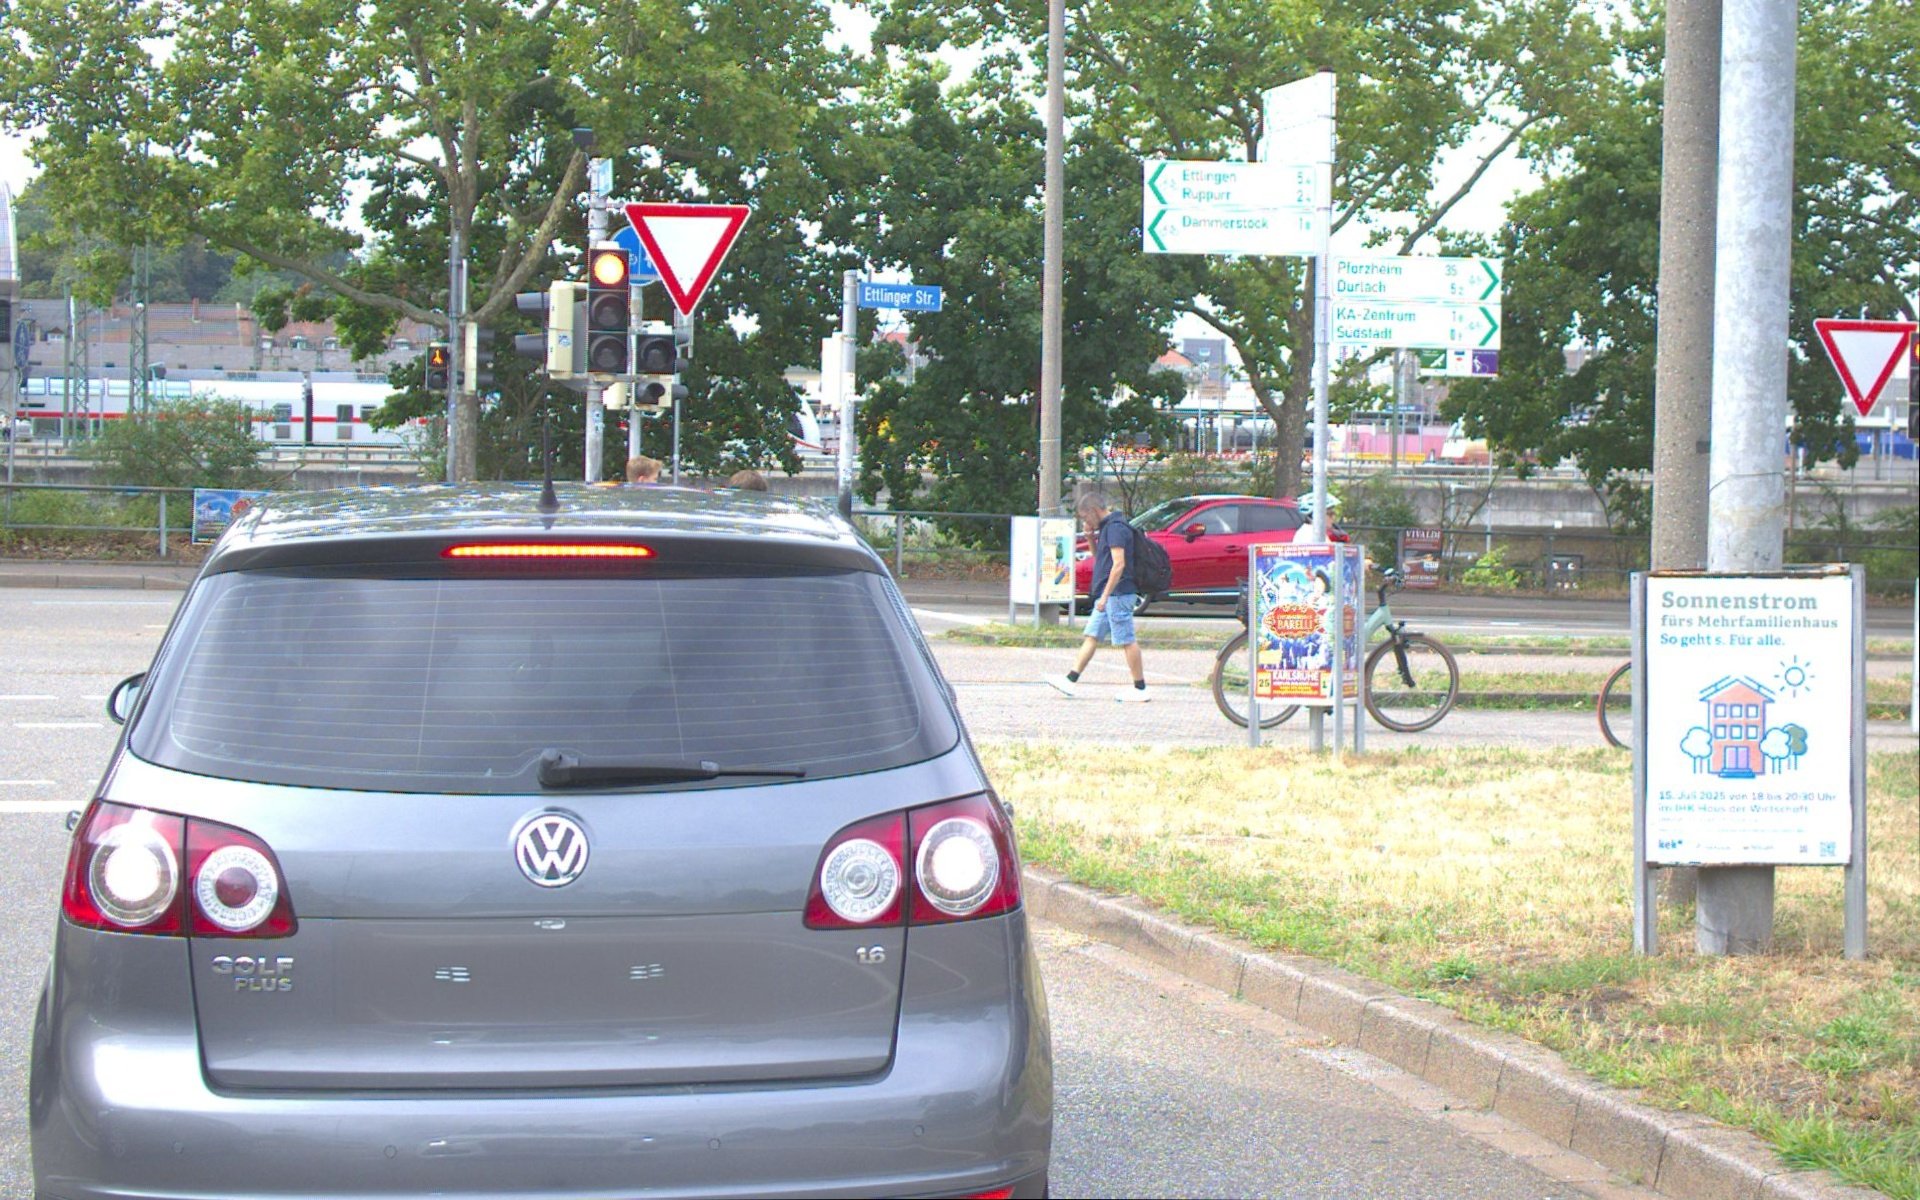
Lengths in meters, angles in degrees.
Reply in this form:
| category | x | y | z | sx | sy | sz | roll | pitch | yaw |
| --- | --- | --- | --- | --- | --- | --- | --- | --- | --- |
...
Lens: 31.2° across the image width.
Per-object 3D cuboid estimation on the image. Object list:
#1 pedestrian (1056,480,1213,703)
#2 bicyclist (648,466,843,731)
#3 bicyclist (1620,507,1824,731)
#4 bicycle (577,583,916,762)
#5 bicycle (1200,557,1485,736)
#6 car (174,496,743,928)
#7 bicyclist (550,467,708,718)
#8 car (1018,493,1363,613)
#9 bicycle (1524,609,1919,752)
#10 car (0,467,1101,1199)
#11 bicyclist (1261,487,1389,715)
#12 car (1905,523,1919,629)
| category | x | y | z | sx | sy | sz | roll | pitch | yaw |
| --- | --- | --- | --- | --- | --- | --- | --- | --- | --- |
| pedestrian | 1.387 | -0.079 | 27.212 | 1.048 | 1.704 | 0.853 | 2 | 2 | 13 |
| bicyclist | -1.275 | -0.016 | 20.340 | 1.016 | 1.534 | 0.629 | 0 | 2 | -17 |
| bicyclist | 5.011 | 0.116 | 22.633 | 1.113 | 1.431 | 0.648 | 0 | 2 | -14 |
| bicycle | -1.266 | 0.419 | 20.374 | 1.900 | 1.010 | 0.629 | 0 | 2 | -17 |
| bicycle | 2.684 | 0.322 | 24.254 | 1.901 | 1.206 | 0.643 | 1 | 2 | -2 |
| car | -2.179 | 0.336 | 13.951 | 1.740 | 1.477 | 4.083 | 0 | 1 | -16 |
| bicyclist | -2.065 | -0.053 | 21.383 | 0.838 | 1.524 | 0.629 | 0 | 2 | -19 |
| car | 2.883 | -0.591 | 43.079 | 3.950 | 1.443 | 1.703 | 0 | 2 | -20 |
| bicycle | 5.074 | 0.526 | 22.677 | 2.583 | 0.887 | 0.705 | 0 | 2 | -14 |
| car | -0.948 | 0.529 | 7.235 | 1.740 | 1.541 | 4.083 | 1 | 1 | -8 |
| bicyclist | 2.568 | -0.001 | 24.242 | 0.779 | 1.575 | 0.655 | 1 | 2 | -2 |
| car | 15.389 | -0.301 | 47.269 | 4.327 | 1.443 | 1.762 | 0 | 2 | -17 |
